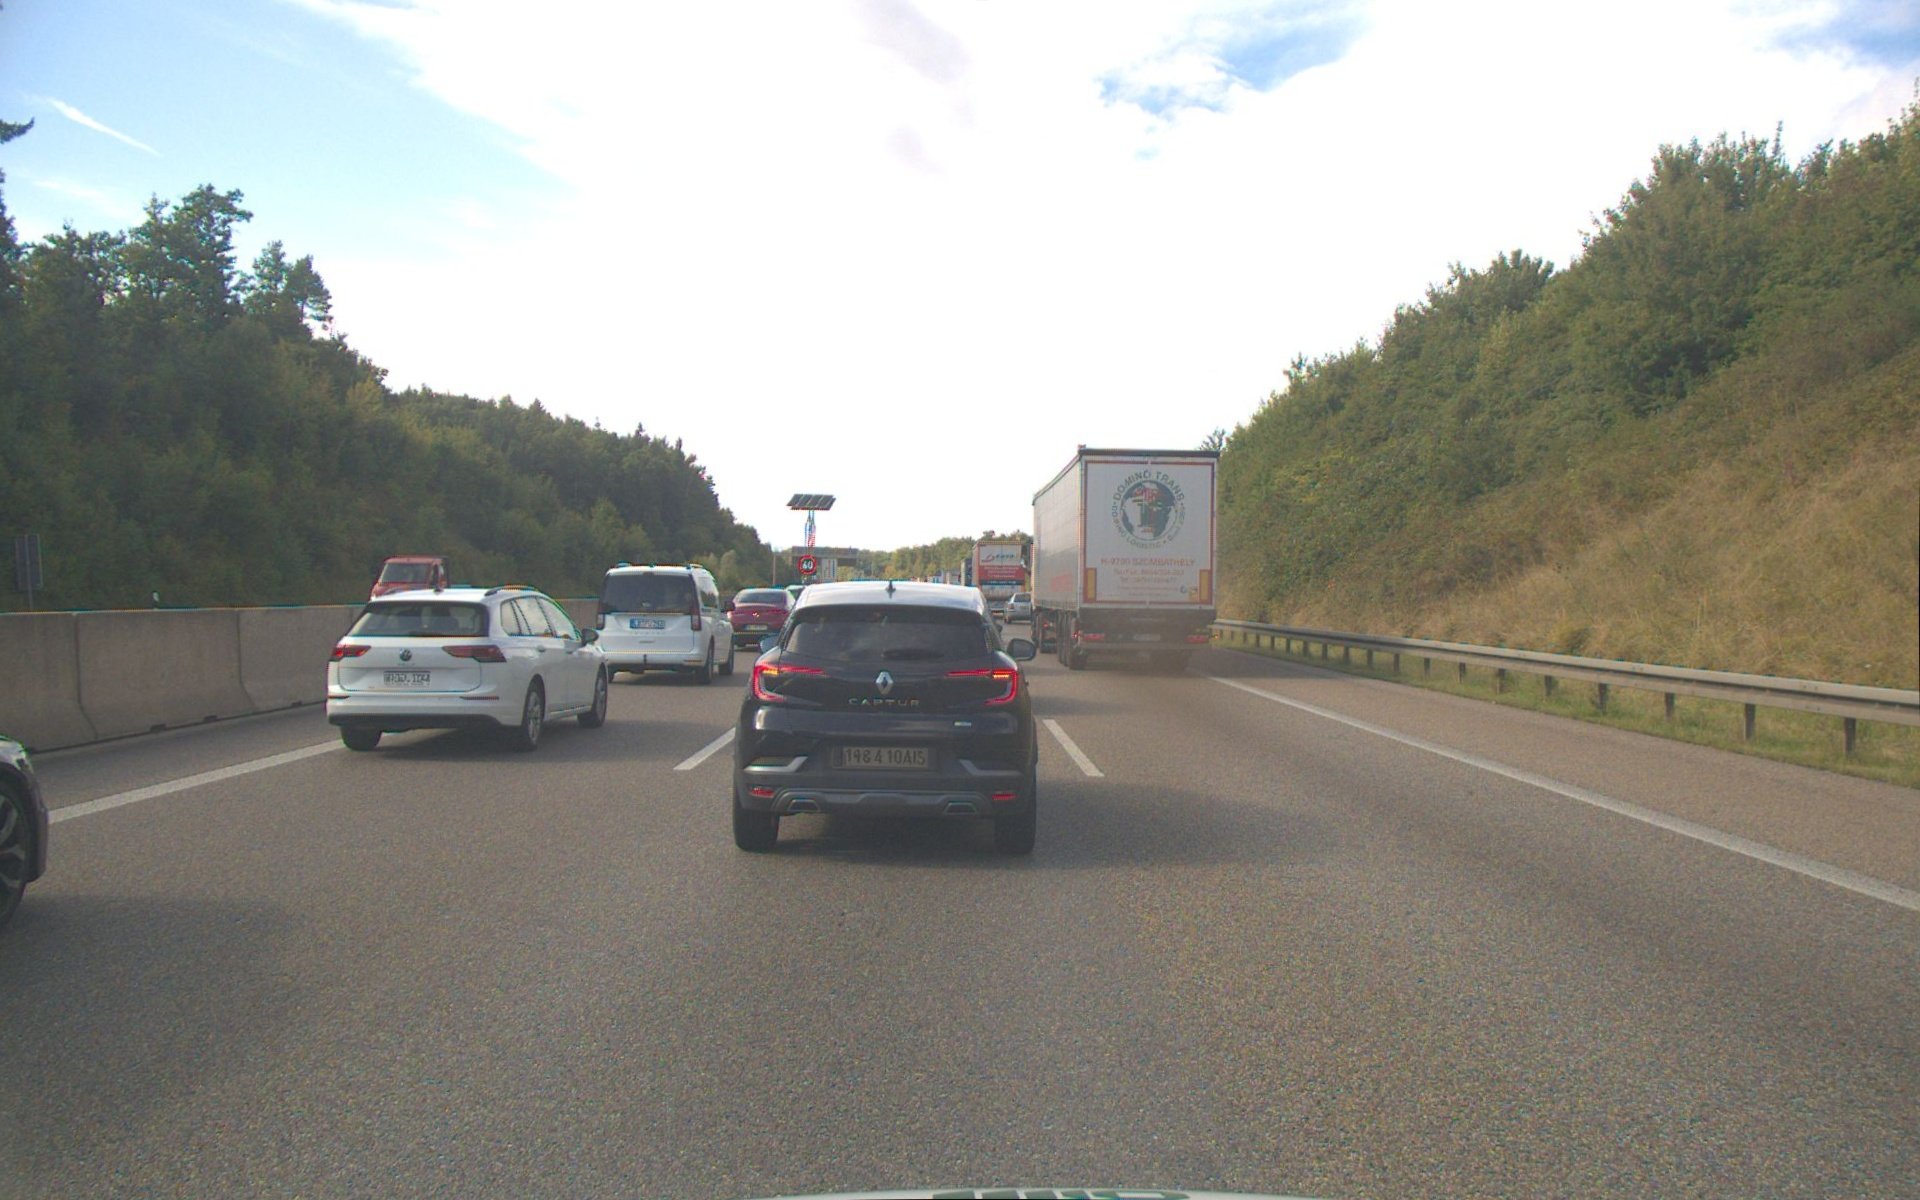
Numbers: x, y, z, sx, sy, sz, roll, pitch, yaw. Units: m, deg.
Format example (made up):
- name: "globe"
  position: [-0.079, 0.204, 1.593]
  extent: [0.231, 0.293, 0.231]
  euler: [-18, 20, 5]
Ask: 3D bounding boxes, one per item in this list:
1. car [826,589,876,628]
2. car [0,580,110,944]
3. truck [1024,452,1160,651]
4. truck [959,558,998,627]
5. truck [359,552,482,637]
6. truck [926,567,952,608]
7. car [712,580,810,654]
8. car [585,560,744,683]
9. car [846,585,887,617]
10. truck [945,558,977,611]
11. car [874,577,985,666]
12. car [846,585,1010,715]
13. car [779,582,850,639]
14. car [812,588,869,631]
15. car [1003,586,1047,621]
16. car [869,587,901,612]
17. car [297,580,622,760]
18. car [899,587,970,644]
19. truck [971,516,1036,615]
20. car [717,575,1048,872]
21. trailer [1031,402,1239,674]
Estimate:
- name: "car"
  position: [-4.823, 0.383, 73.643]
  extent: [1.953, 1.641, 4.000]
  euler: [1, 0, 0]
- name: "car"
  position: [-4.807, 0.658, 5.194]
  extent: [1.805, 1.481, 4.747]
  euler: [1, 0, 0]
- name: "truck"
  position: [3.298, -1.182, 42.752]
  extent: [2.936, 4.749, 5.938]
  euler: [1, 0, -1]
- name: "truck"
  position: [1.542, -0.625, 142.044]
  extent: [3.101, 5.601, 12.737]
  euler: [1, 0, 0]
- name: "truck"
  position: [-19.449, -0.209, 60.007]
  extent: [2.373, 2.905, 6.429]
  euler: [1, 0, -1]
- name: "truck"
  position: [-2.676, -1.569, 216.729]
  extent: [3.101, 5.249, 12.737]
  euler: [1, 0, 0]
- name: "car"
  position: [-4.734, 0.403, 39.812]
  extent: [1.817, 1.669, 3.925]
  euler: [1, 0, 0]
- name: "car"
  position: [-4.724, 0.331, 27.010]
  extent: [1.873, 1.821, 4.416]
  euler: [1, 0, -1]
- name: "car"
  position: [-5.002, 0.022, 88.614]
  extent: [1.953, 1.641, 4.000]
  euler: [1, 0, 0]
- name: "truck"
  position: [0.190, -1.613, 183.052]
  extent: [3.101, 5.601, 12.739]
  euler: [1, 0, 2]
- name: "car"
  position: [-0.546, 0.390, 31.432]
  extent: [1.953, 1.540, 4.000]
  euler: [1, 0, 0]
- name: "car"
  position: [-0.385, 0.605, 21.999]
  extent: [1.953, 1.540, 4.000]
  euler: [1, 0, 0]
- name: "car"
  position: [-4.698, 0.333, 53.907]
  extent: [1.953, 1.752, 4.000]
  euler: [1, 0, 0]
- name: "car"
  position: [-4.730, 0.365, 66.109]
  extent: [1.953, 1.641, 4.000]
  euler: [1, 0, 0]
- name: "car"
  position: [2.972, 0.166, 76.729]
  extent: [1.768, 1.559, 3.924]
  euler: [1, 0, -1]
- name: "car"
  position: [-5.075, -0.023, 112.634]
  extent: [1.953, 1.641, 4.000]
  euler: [1, 0, 0]
- name: "car"
  position: [-4.613, 0.585, 15.954]
  extent: [1.767, 1.486, 4.308]
  euler: [1, 0, 1]
- name: "car"
  position: [-0.719, 0.432, 47.997]
  extent: [1.953, 1.540, 4.000]
  euler: [1, 0, 0]
- name: "truck"
  position: [2.301, -1.782, 92.539]
  extent: [3.296, 5.132, 12.737]
  euler: [1, 0, 0]
- name: "car"
  position: [-0.353, 0.655, 10.884]
  extent: [1.767, 1.579, 4.001]
  euler: [0, 0, 2]
- name: "trailer"
  position: [3.365, -1.138, 35.776]
  extent: [2.941, 4.742, 13.288]
  euler: [1, 0, -1]
